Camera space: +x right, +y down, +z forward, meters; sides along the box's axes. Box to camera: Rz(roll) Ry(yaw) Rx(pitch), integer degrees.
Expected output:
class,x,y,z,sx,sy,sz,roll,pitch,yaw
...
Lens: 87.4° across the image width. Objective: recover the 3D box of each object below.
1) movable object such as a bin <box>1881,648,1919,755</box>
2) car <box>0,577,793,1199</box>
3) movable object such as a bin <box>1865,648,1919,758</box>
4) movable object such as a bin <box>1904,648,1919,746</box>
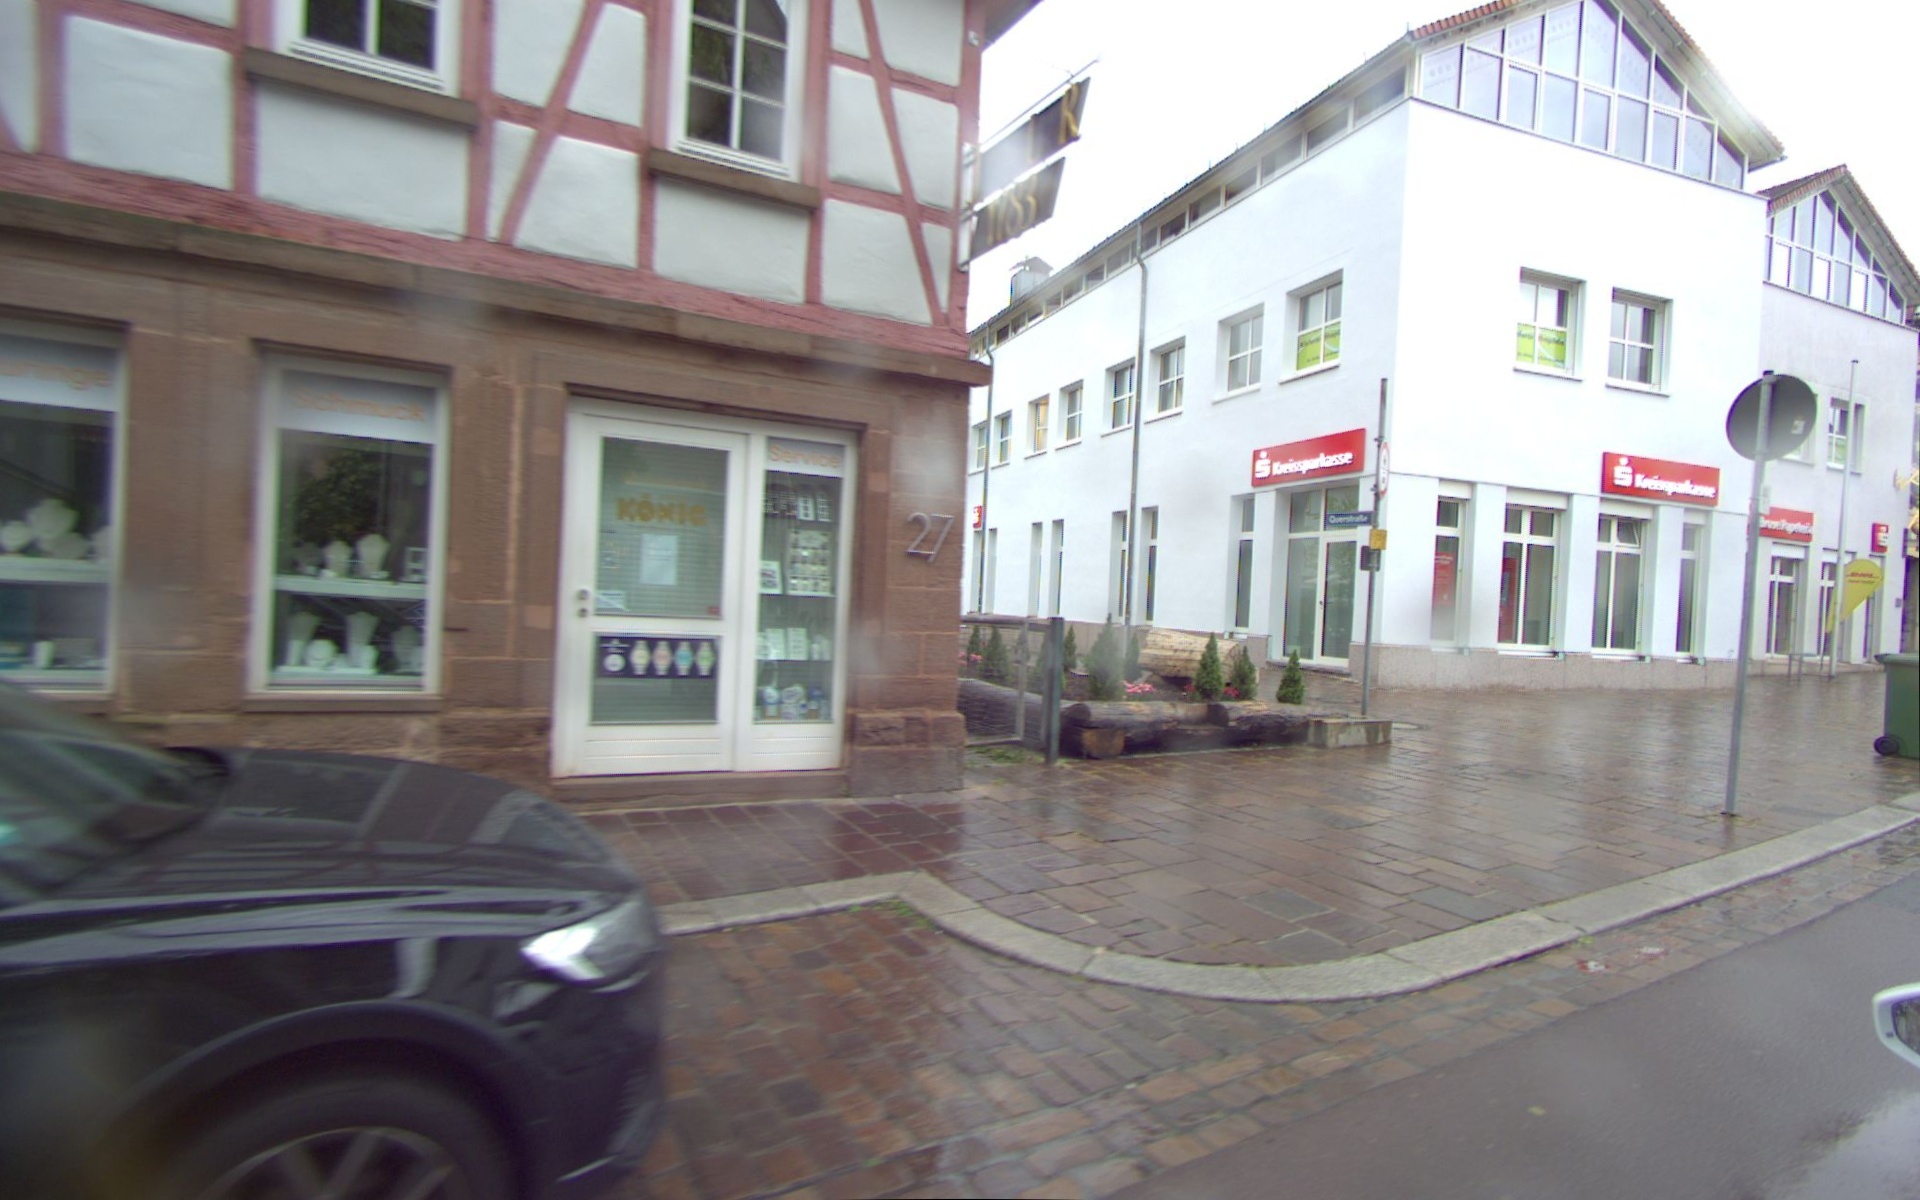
class,x,y,z,sx,sy,sz,roll,pitch,yaw
movable object such as a bin,10.456,1.095,10.821,0.547,1.129,0.654,2,0,-33
car,-2.475,0.690,1.760,3.958,1.506,1.679,2,0,-34
movable object such as a bin,9.990,1.073,10.501,0.547,1.097,0.654,2,0,-33
movable object such as a bin,11.313,1.122,11.468,0.607,1.110,0.654,2,0,-35
